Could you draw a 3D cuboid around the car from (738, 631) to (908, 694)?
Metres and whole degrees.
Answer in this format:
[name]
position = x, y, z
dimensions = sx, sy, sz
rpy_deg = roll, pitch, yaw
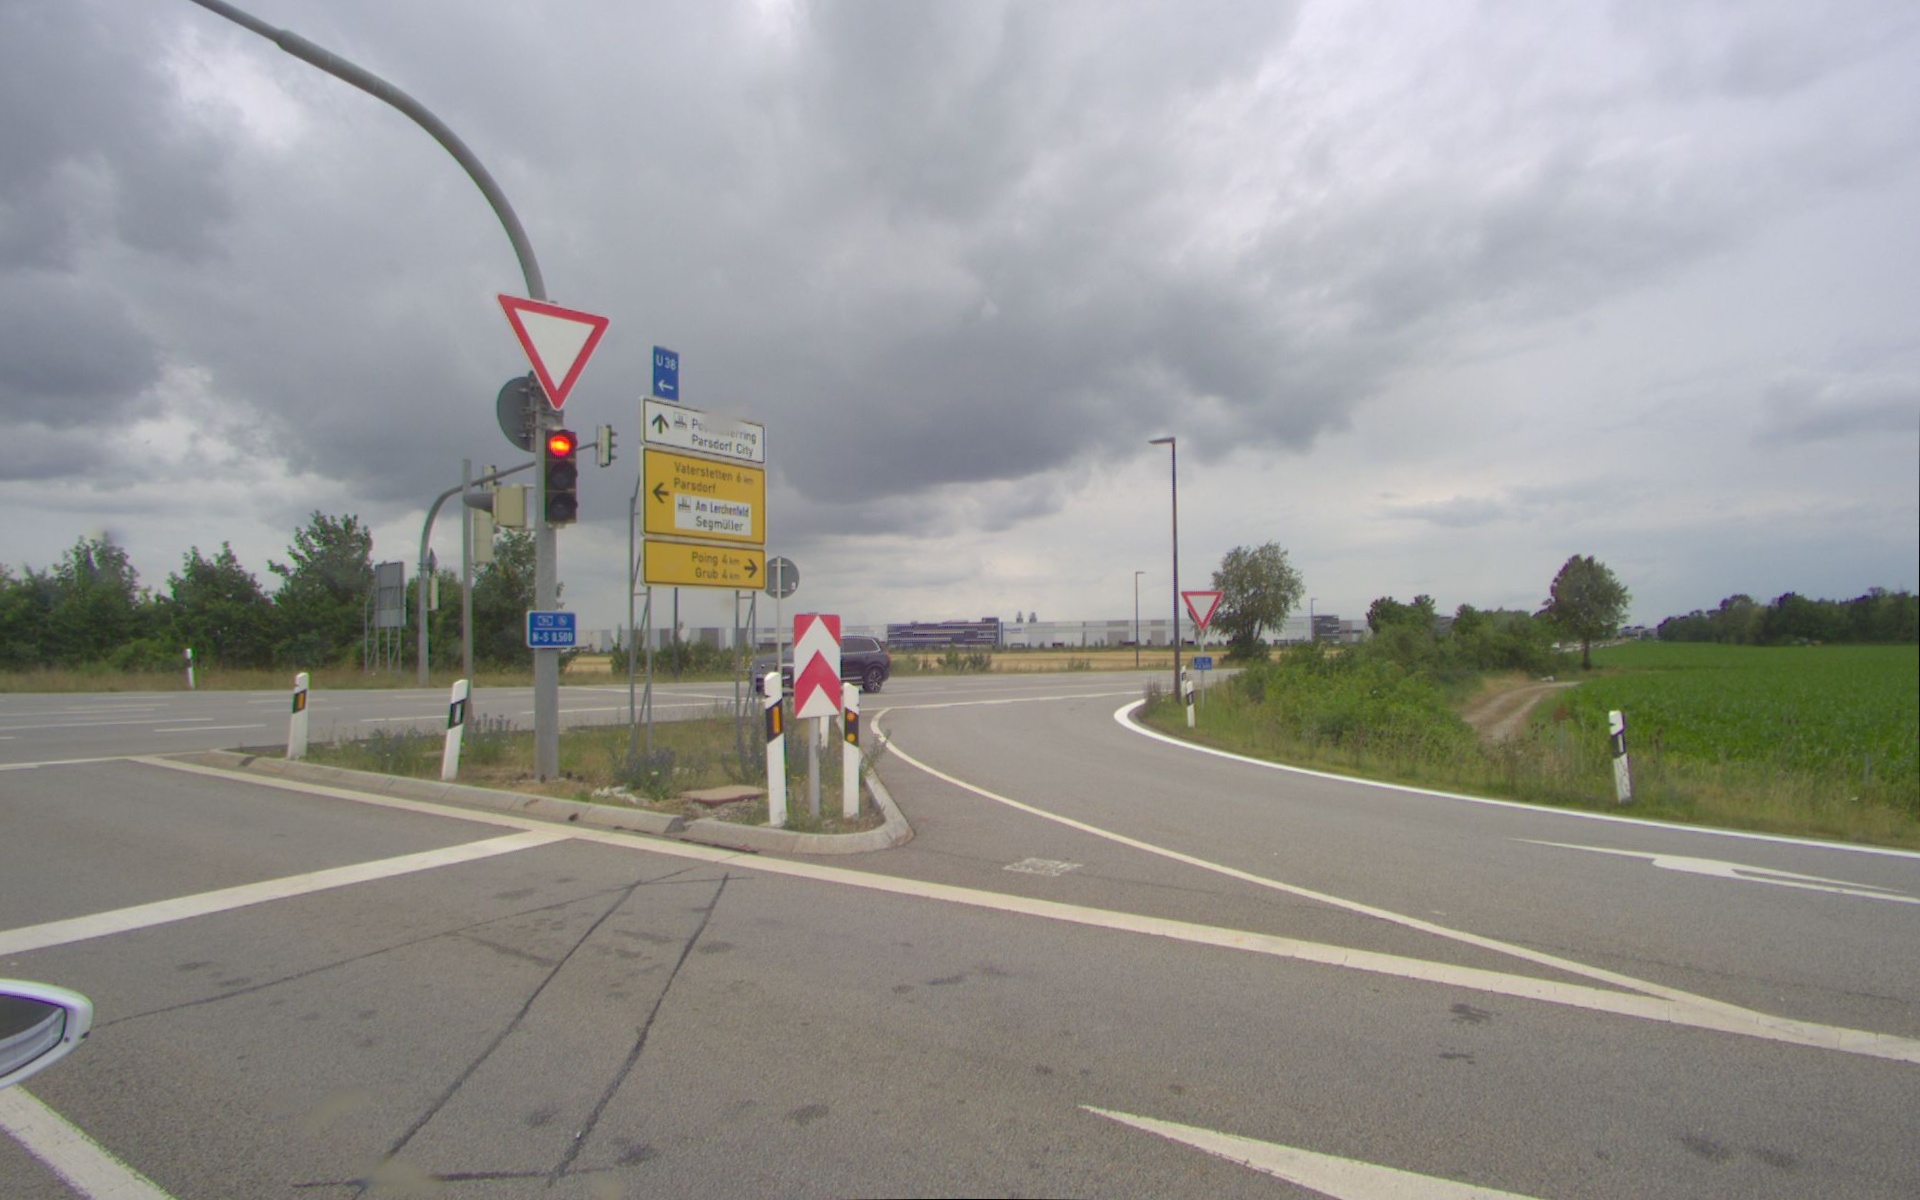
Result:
[car]
position = -3.955, 1.826, 29.750
dimensions = 1.977, 1.705, 4.961
rpy_deg = -2, -3, 41
